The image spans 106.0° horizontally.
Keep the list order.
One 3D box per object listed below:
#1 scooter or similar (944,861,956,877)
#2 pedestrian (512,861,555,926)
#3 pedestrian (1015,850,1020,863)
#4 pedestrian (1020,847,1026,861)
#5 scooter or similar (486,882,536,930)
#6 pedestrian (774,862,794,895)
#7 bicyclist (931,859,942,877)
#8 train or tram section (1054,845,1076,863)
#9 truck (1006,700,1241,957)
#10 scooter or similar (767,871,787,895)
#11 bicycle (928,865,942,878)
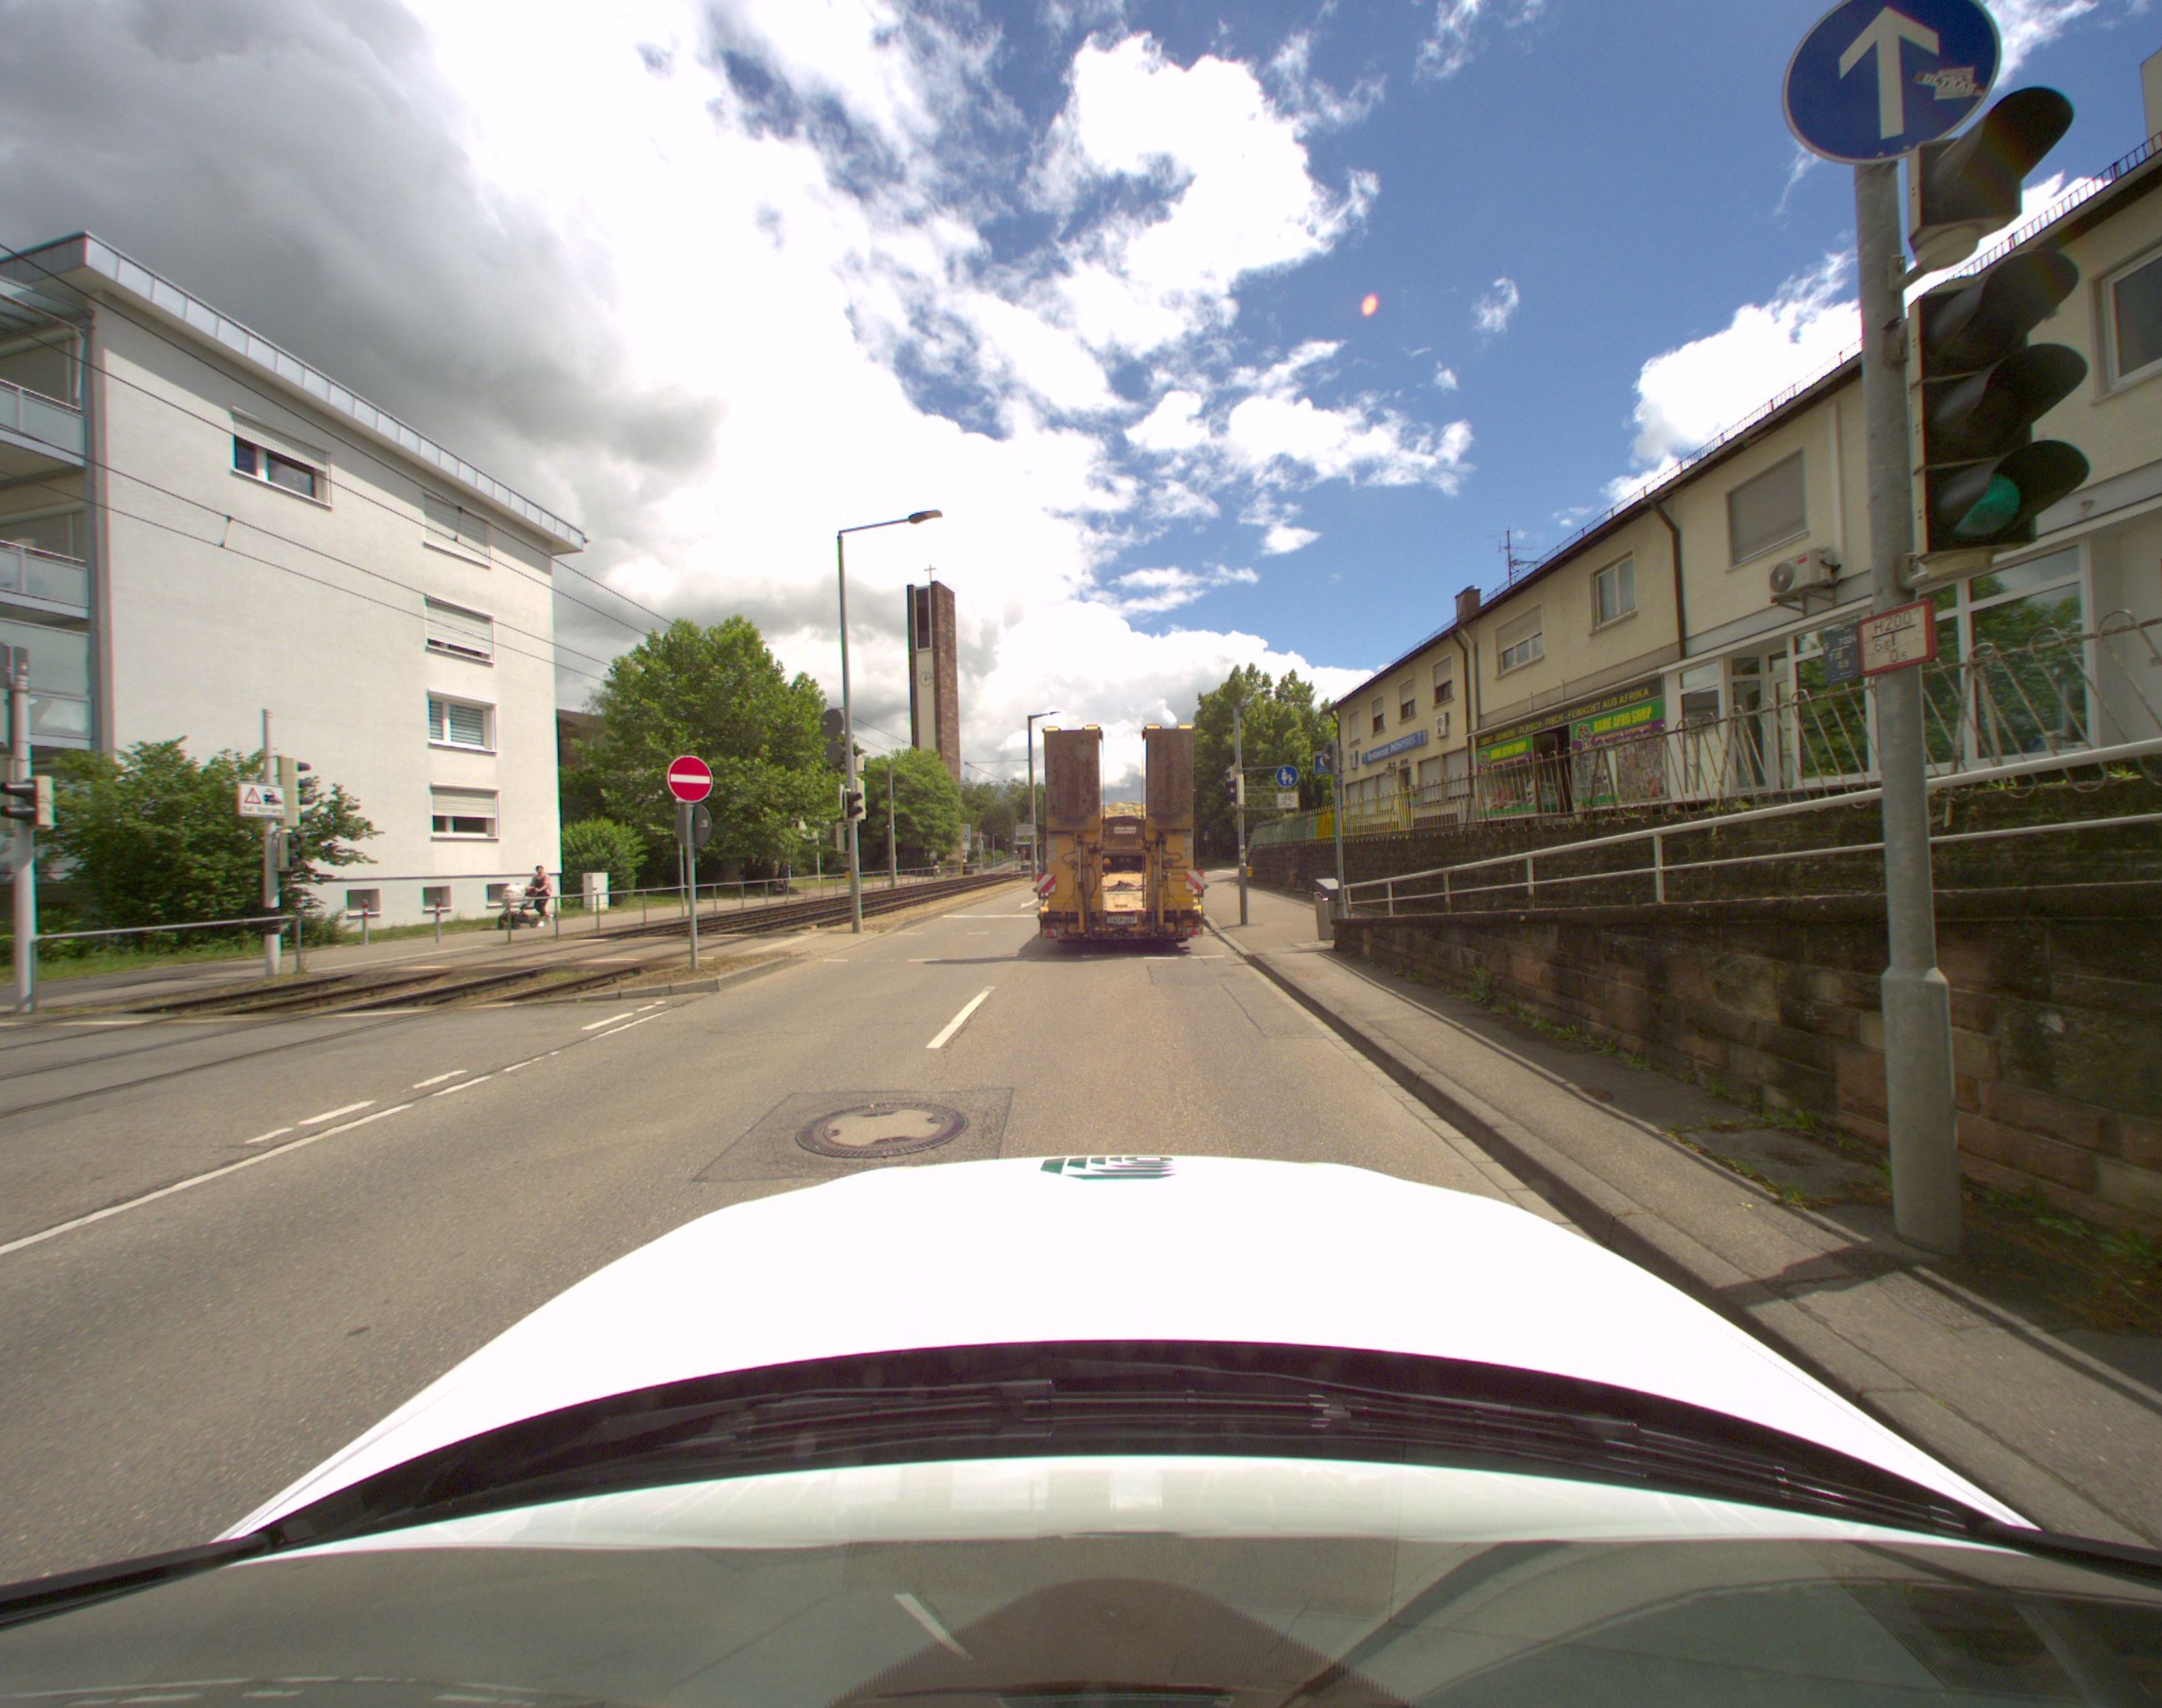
[{"bbox_3d":[-10.989,1.244,68.235,0.646,1.237,1.403,0,0,4],"label":"scooter or similar"},{"bbox_3d":[-14.567,1.044,21.687,0.642,1.692,0.680,-1,-1,3],"label":"pedestrian"},{"bbox_3d":[-8.599,0.306,110.451,0.582,1.778,0.576,0,-1,3],"label":"pedestrian"},{"bbox_3d":[-8.244,0.047,115.736,0.709,2.014,0.732,0,-1,1],"label":"pedestrian"},{"bbox_3d":[-14.598,1.321,20.879,0.605,1.163,0.892,-1,-1,3],"label":"scooter or similar"},{"bbox_3d":[-14.181,1.161,38.916,0.610,1.540,0.874,-1,-1,2],"label":"pedestrian"},{"bbox_3d":[-11.190,1.076,63.061,0.630,1.429,0.791,0,-1,3],"label":"bicyclist"},{"bbox_3d":[-3.284,0.056,170.795,3.094,3.465,18.842,0,0,4],"label":"train or tram section"},{"bbox_3d":[0.783,-0.338,18.981,3.390,3.732,13.741,-2,0,1],"label":"truck"},{"bbox_3d":[-14.211,1.349,38.058,0.602,1.115,0.821,-1,-1,1],"label":"scooter or similar"},{"bbox_3d":[-11.210,1.363,62.671,0.635,0.994,1.930,0,0,4],"label":"bicycle"}]
